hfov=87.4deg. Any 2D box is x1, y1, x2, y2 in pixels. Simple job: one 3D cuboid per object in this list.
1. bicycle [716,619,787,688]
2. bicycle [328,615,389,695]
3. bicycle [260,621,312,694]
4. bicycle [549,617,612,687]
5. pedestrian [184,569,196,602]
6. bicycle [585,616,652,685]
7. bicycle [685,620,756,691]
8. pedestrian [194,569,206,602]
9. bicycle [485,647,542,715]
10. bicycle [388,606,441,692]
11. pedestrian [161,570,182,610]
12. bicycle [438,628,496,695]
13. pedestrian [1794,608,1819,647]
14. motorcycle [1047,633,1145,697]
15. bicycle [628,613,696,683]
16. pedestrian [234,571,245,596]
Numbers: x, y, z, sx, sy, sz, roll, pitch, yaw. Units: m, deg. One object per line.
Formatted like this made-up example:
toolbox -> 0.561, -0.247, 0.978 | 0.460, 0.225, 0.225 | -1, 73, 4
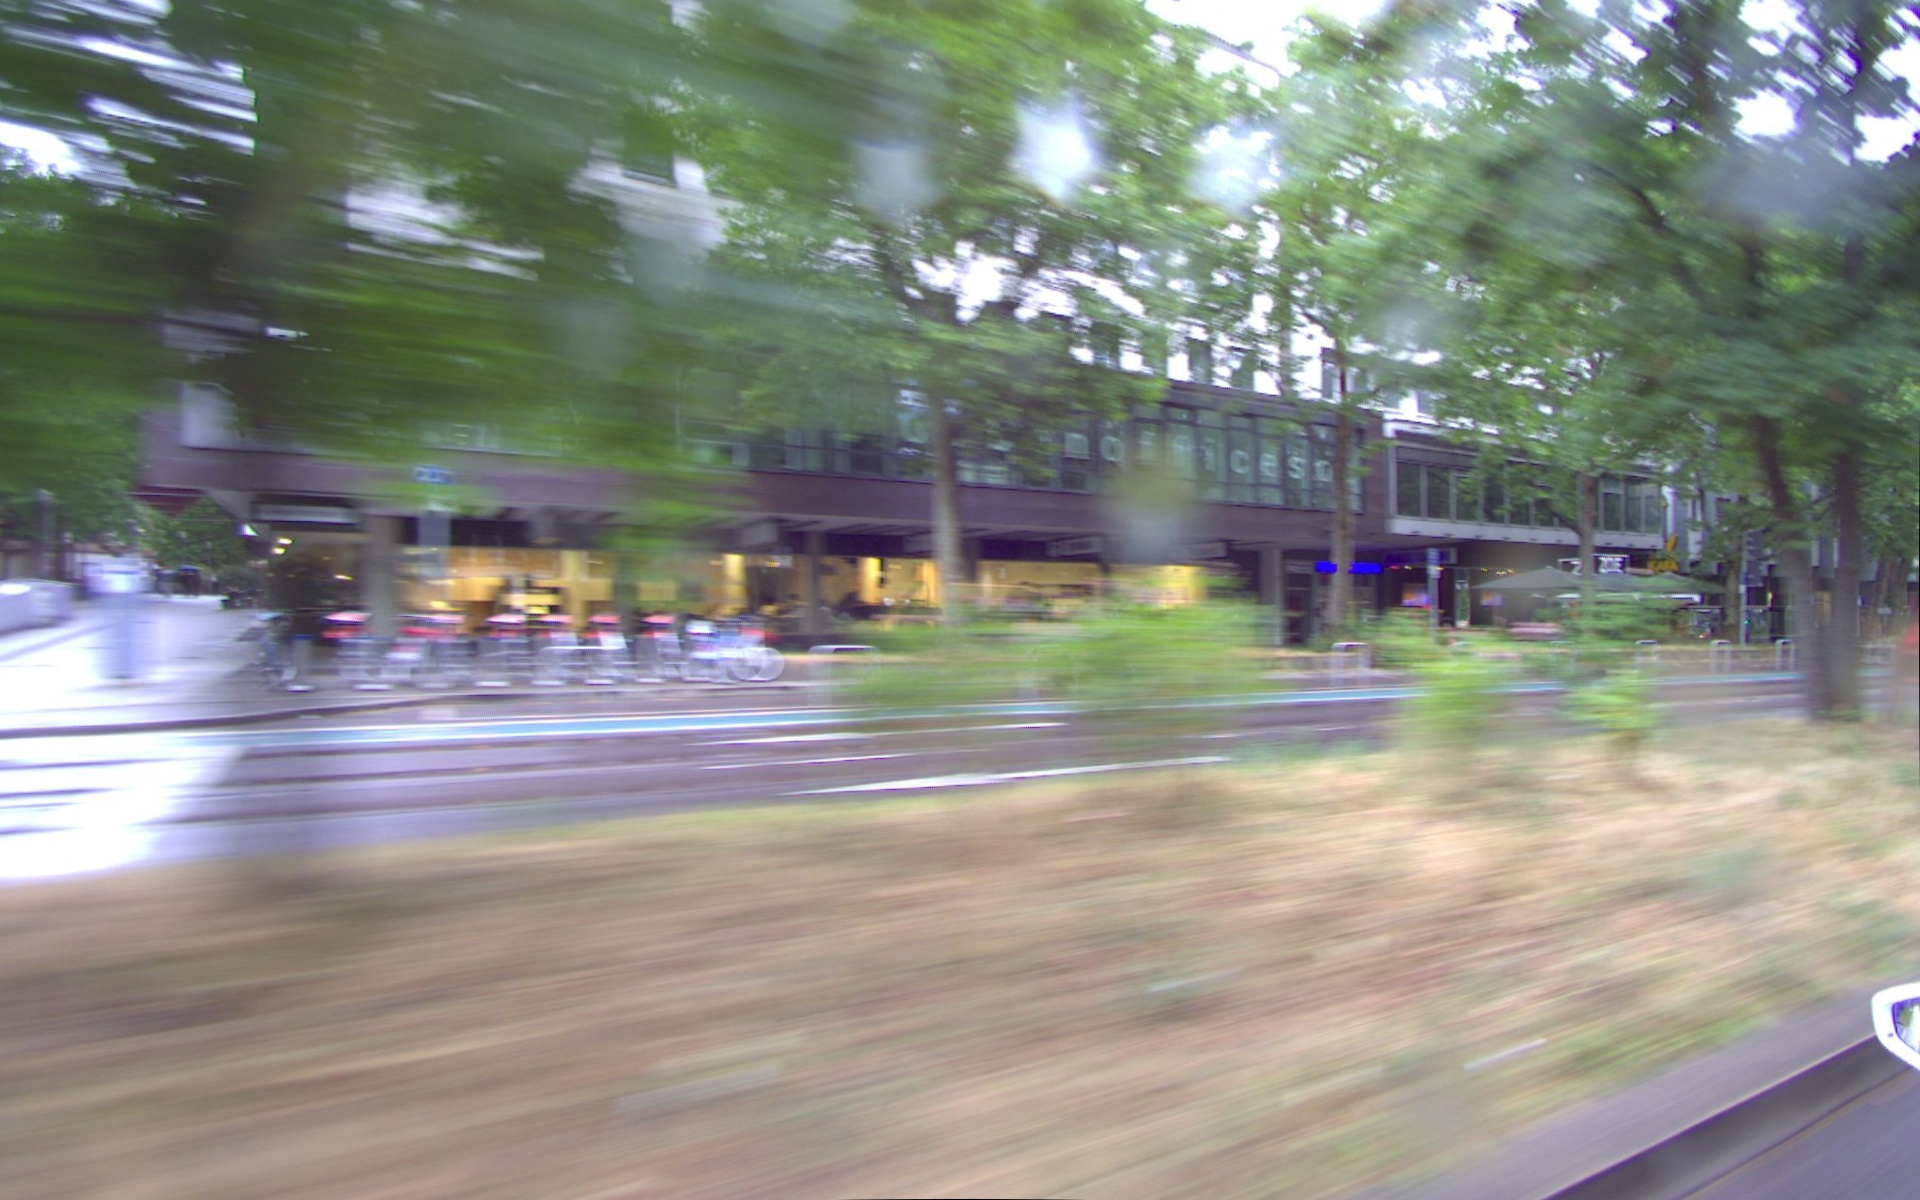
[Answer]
bicycle -> -3.729, 0.920, 17.834 | 0.560, 1.165, 1.832 | 0, -1, -35
bicycle -> -9.099, 0.794, 15.164 | 0.609, 1.112, 1.831 | 1, -1, -37
bicycle -> -9.849, 0.808, 14.717 | 0.559, 0.992, 1.834 | 1, -1, -32
bicycle -> -6.374, 0.840, 16.821 | 0.560, 1.106, 1.658 | 1, -1, -36
pedestrian -> -46.497, -0.894, 60.654 | 0.473, 1.956, 0.603 | 2, 0, -29
bicycle -> -5.855, 0.839, 17.175 | 0.560, 1.112, 1.808 | 1, -1, -36
bicycle -> -4.146, 0.923, 17.305 | 0.560, 1.152, 1.832 | 0, -1, -35
pedestrian -> -46.036, -0.879, 60.845 | 0.473, 1.956, 0.603 | 2, 0, -29
bicycle -> -7.227, 1.283, 16.220 | 0.505, 0.975, 1.606 | 1, -1, -36
bicycle -> -8.416, 0.724, 15.466 | 0.505, 1.258, 1.606 | 1, -1, -36
pedestrian -> -40.414, -0.508, 51.490 | 0.656, 2.040, 0.752 | 2, 0, -28
bicycle -> -7.853, 0.949, 15.968 | 0.561, 0.992, 1.452 | 1, -1, -37
pedestrian -> 44.988, 1.475, 53.386 | 0.628, 2.040, 0.876 | 1, 0, -30
motorcycle -> 2.534, 1.200, 18.815 | 1.748, 1.099, 0.495 | 1, 0, 31
bicycle -> -5.223, 0.810, 17.551 | 0.560, 1.152, 1.831 | 1, -1, -36
pedestrian -> -59.387, -1.371, 82.806 | 0.576, 2.040, 0.658 | 2, 0, -29
